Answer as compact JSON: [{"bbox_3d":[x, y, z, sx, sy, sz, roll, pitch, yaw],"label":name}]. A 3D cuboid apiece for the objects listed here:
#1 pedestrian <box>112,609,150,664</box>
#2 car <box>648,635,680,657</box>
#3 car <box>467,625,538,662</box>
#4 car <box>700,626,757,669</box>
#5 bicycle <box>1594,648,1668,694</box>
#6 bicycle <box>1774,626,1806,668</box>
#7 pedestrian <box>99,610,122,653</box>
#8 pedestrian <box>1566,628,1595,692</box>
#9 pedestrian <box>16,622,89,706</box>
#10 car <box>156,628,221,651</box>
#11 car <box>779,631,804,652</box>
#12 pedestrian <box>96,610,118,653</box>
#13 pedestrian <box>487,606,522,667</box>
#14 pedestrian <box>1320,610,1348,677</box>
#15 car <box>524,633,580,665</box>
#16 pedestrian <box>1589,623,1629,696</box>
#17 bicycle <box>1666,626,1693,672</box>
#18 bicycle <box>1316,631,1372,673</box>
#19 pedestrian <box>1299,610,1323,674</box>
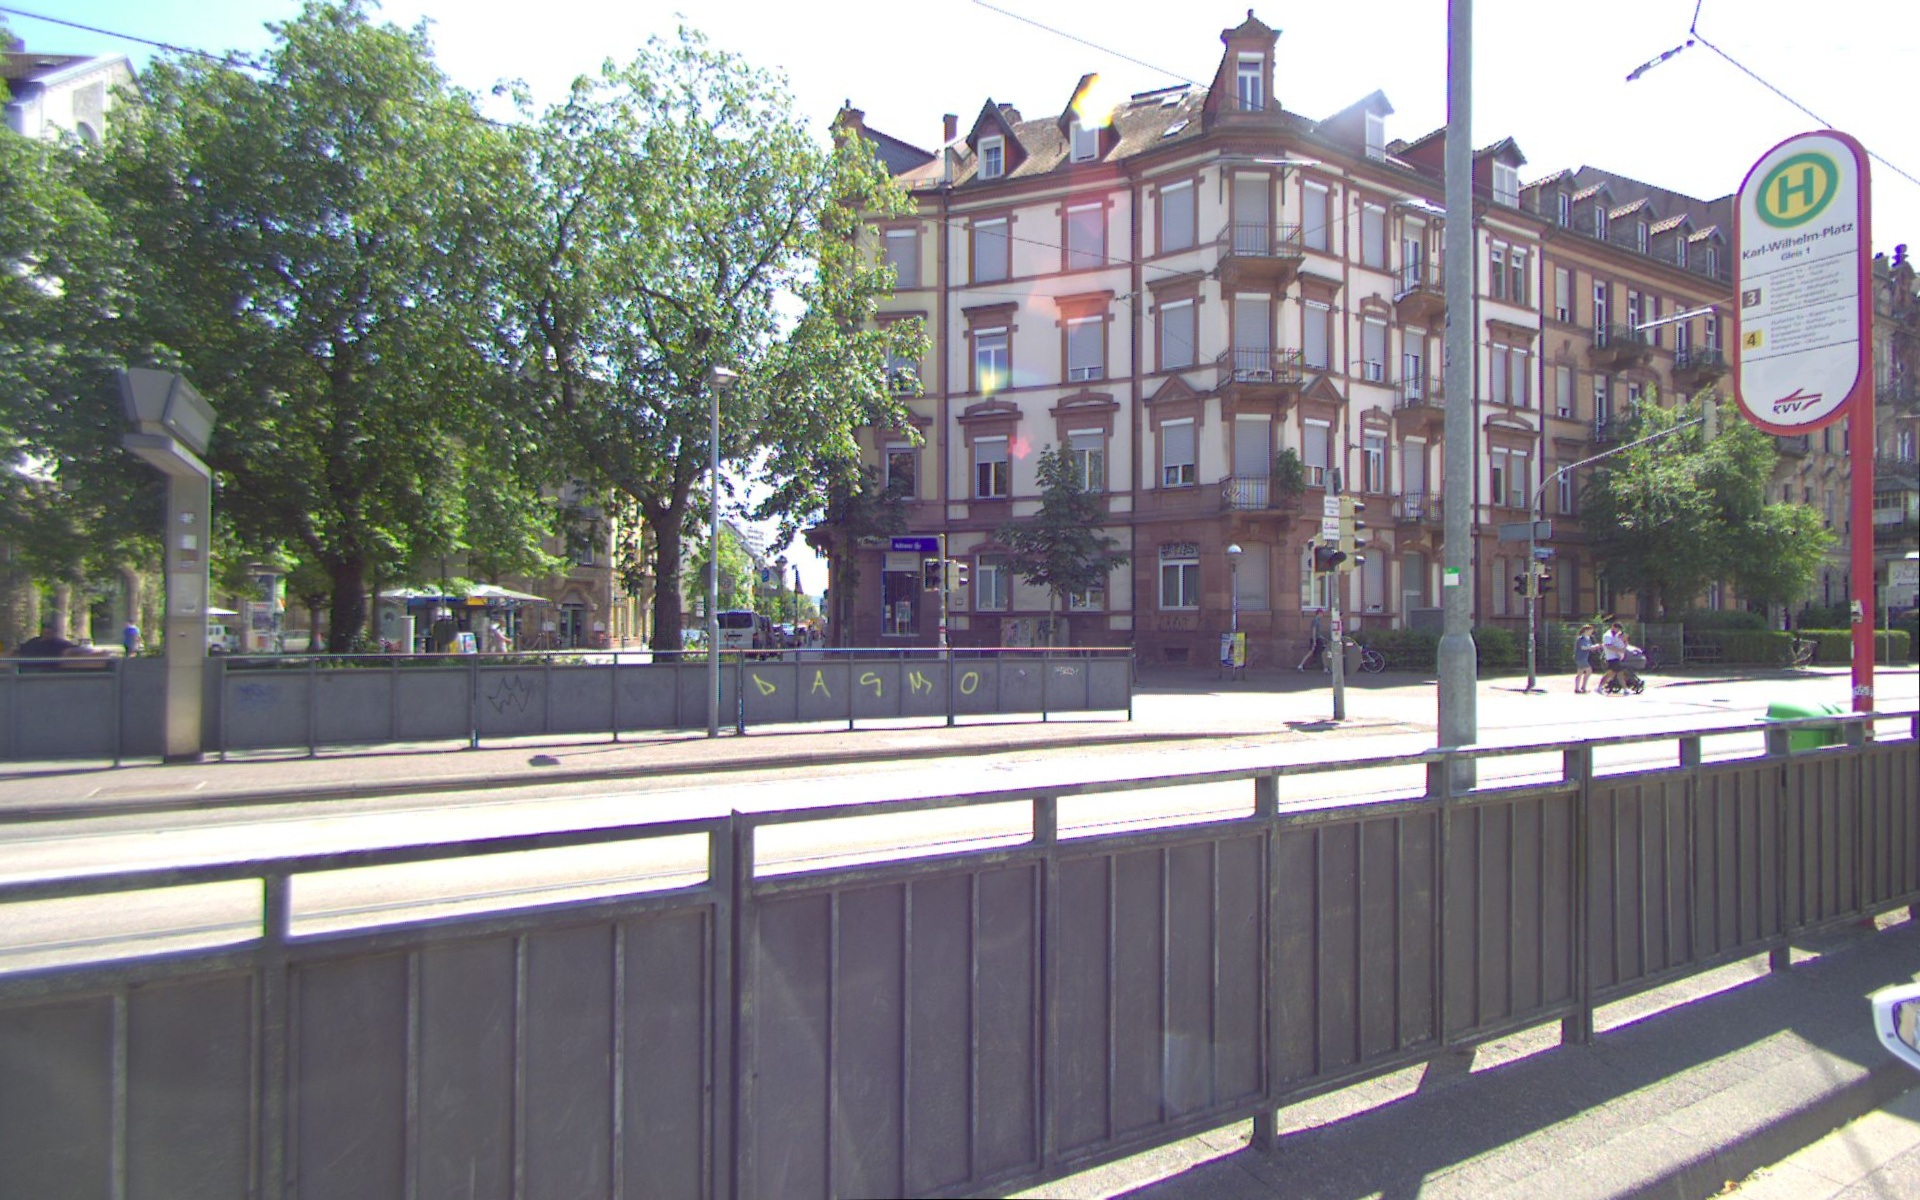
[{"bbox_3d":[-27.118,1.187,32.864,0.703,1.774,0.616,1,-1,-6],"label":"pedestrian"},{"bbox_3d":[-20.932,3.243,71.053,1.513,1.461,3.738,1,-1,-6],"label":"car"},{"bbox_3d":[-19.187,1.793,42.314,1.512,1.461,3.739,1,-1,-5],"label":"car"},{"bbox_3d":[-8.445,1.699,36.877,1.512,1.461,3.739,1,-1,-5],"label":"car"},{"bbox_3d":[15.785,1.663,23.652,1.375,1.027,0.389,1,-1,21],"label":"bicycle"},{"bbox_3d":[28.510,1.601,34.526,0.583,1.374,2.434,0,-1,34],"label":"bicycle"},{"bbox_3d":[-33.183,1.228,39.240,0.554,1.644,0.510,1,-1,-30],"label":"pedestrian"},{"bbox_3d":[15.141,1.450,24.518,0.497,1.536,0.469,1,-1,18],"label":"pedestrian"},{"bbox_3d":[-14.661,1.021,16.234,0.607,1.304,0.646,1,-1,21],"label":"pedestrian"},{"bbox_3d":[-31.087,1.597,40.504,0.847,0.876,1.910,0,-1,35],"label":"car"},{"bbox_3d":[-12.526,3.056,74.714,1.512,1.461,3.739,1,-1,-5],"label":"car"},{"bbox_3d":[-32.917,1.223,38.752,0.520,1.644,0.493,1,-1,-30],"label":"pedestrian"},{"bbox_3d":[-15.357,1.217,33.855,0.797,2.040,0.716,0,-1,9],"label":"pedestrian"},{"bbox_3d":[10.583,1.218,28.443,0.556,1.849,0.632,0,-1,39],"label":"pedestrian"},{"bbox_3d":[-20.325,2.432,50.194,1.512,1.461,3.739,1,-1,-5],"label":"car"},{"bbox_3d":[14.930,1.355,23.102,0.641,1.637,0.469,1,2,18],"label":"pedestrian"},{"bbox_3d":[22.990,1.542,32.125,0.606,1.414,2.301,0,-1,34],"label":"bicycle"},{"bbox_3d":[11.386,1.538,29.808,1.494,1.185,0.364,1,0,34],"label":"bicycle"},{"bbox_3d":[10.123,1.204,28.944,0.500,1.791,0.527,0,-1,39],"label":"pedestrian"}]
